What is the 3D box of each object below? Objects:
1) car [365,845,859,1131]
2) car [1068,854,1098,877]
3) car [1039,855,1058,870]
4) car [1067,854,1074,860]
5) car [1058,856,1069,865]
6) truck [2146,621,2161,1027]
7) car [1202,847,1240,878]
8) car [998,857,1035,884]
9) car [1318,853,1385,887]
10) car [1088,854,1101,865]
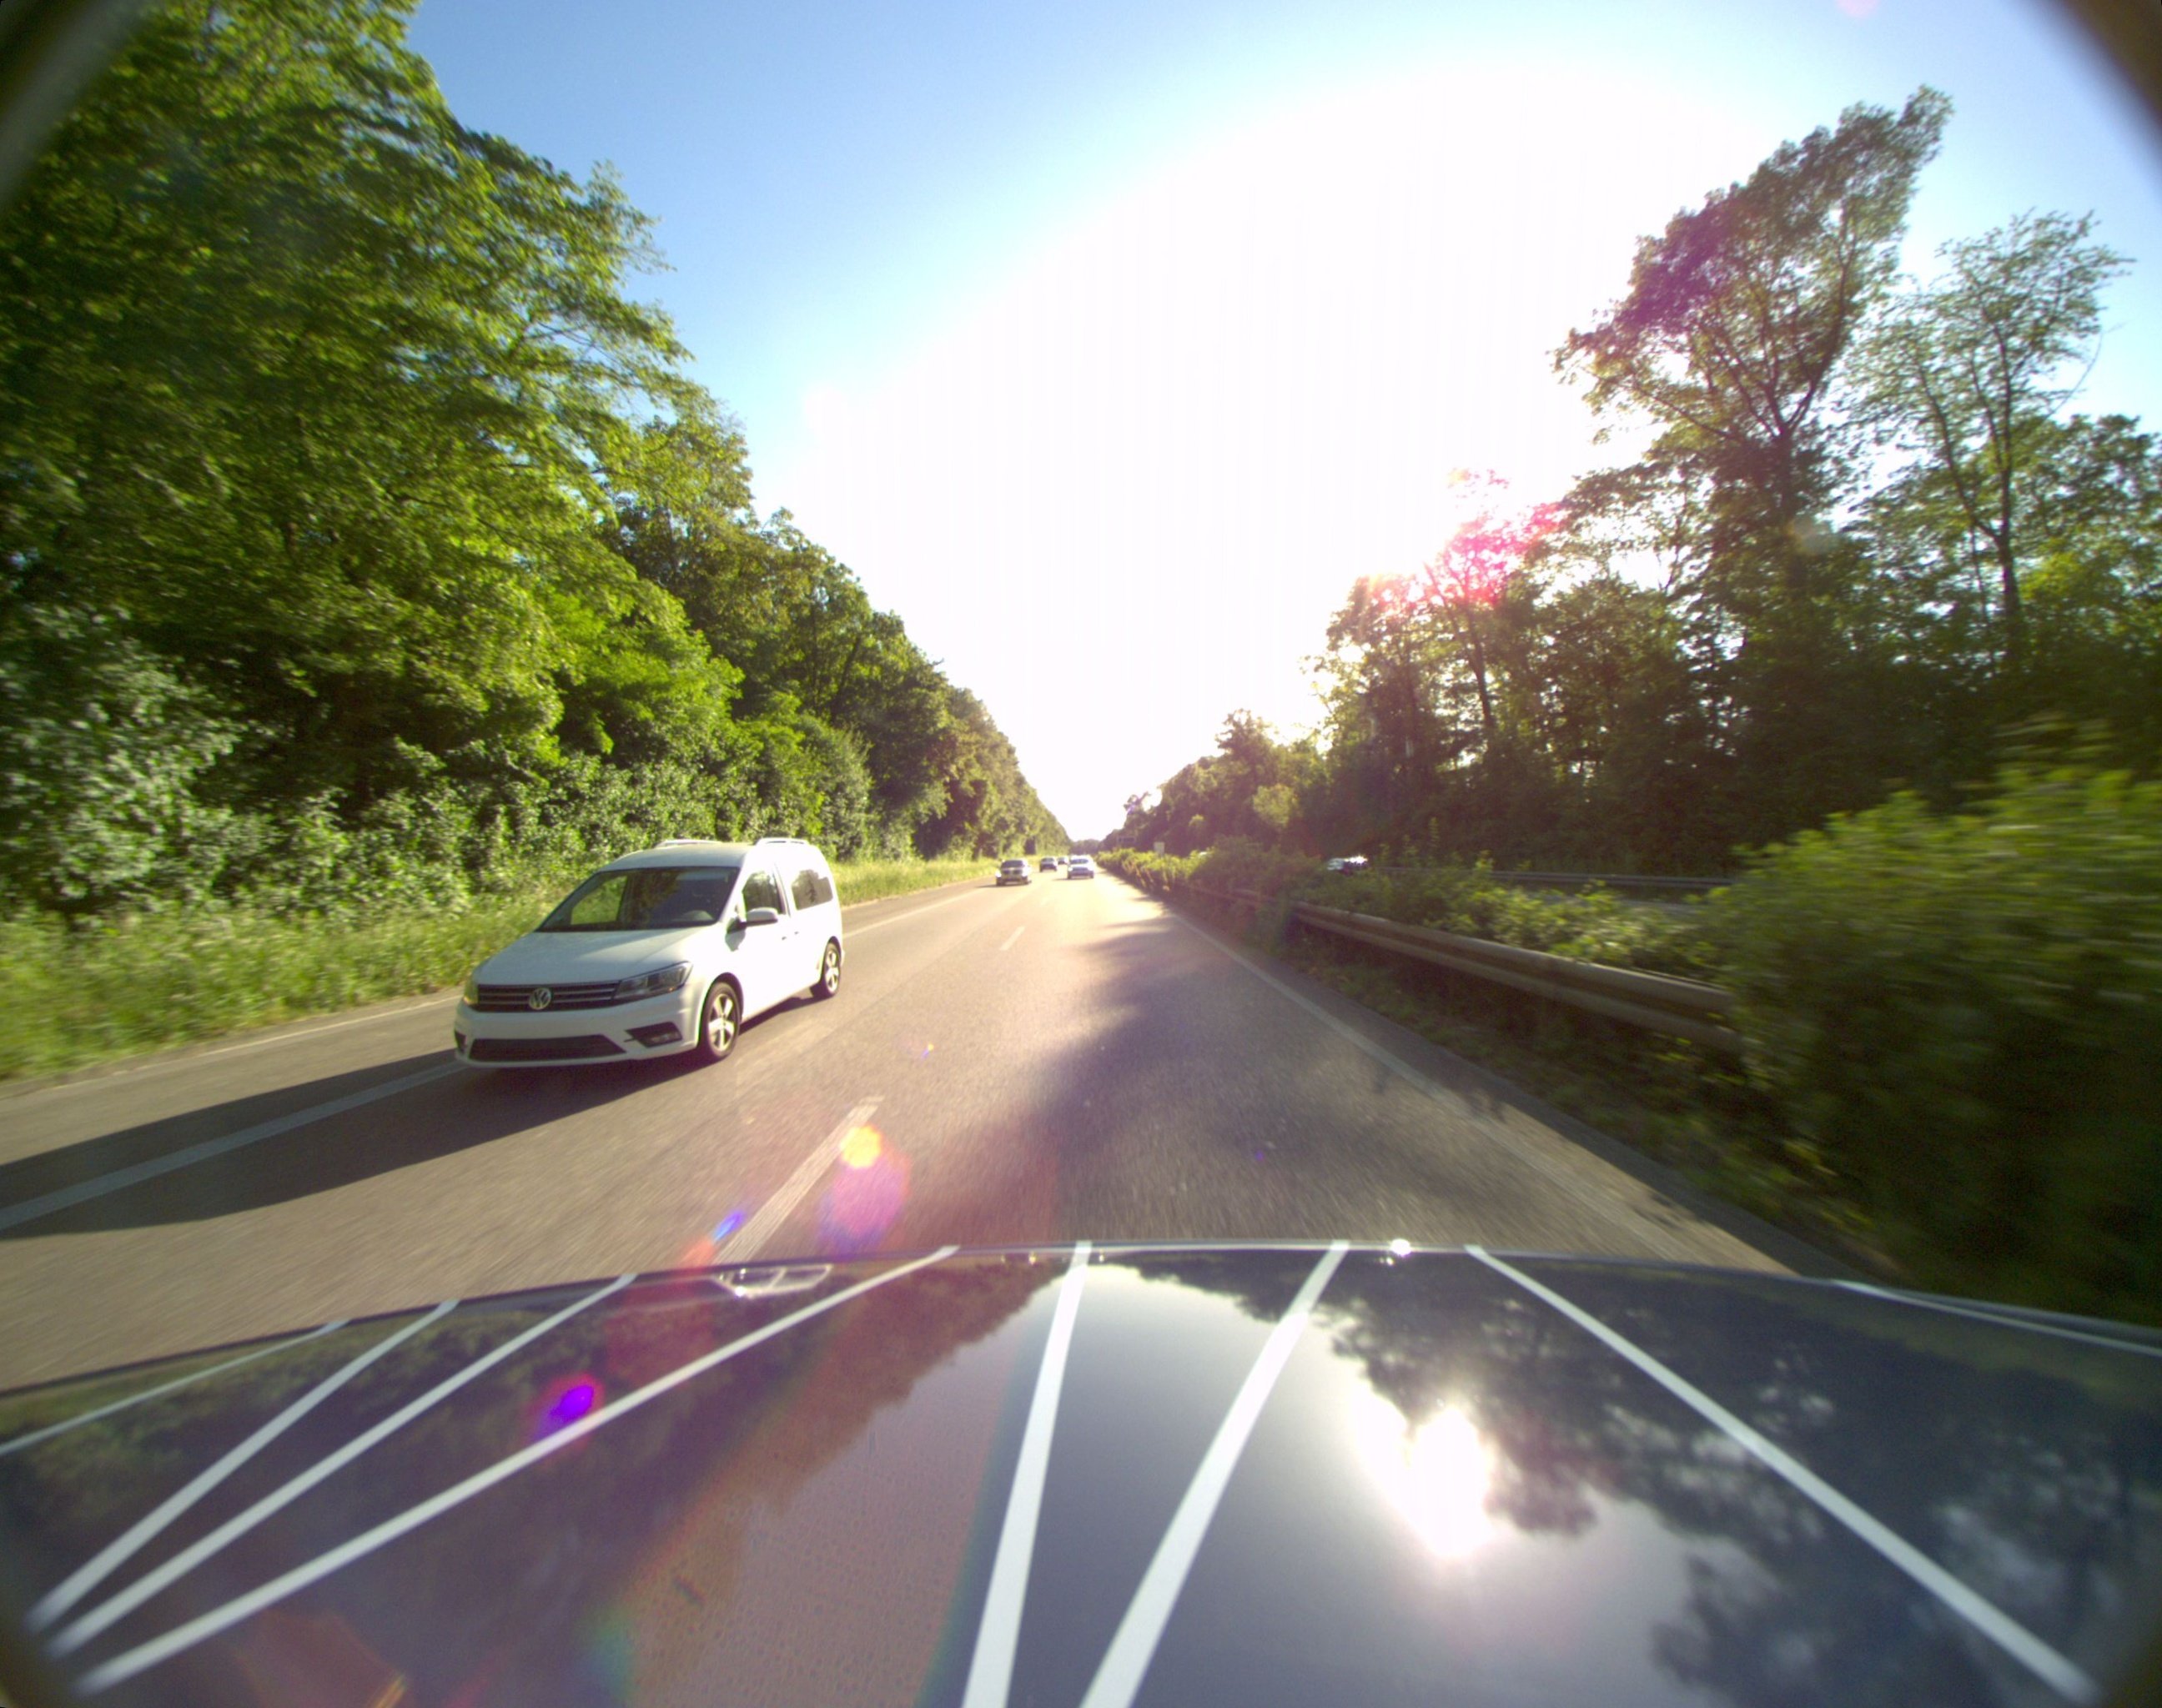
[{"bbox_3d":[-3.710,0.852,7.236,1.803,1.802,4.587,-2,1,0],"label":"car"},{"bbox_3d":[0.153,0.785,51.779,1.890,1.440,3.878,-2,0,0],"label":"car"},{"bbox_3d":[-3.342,0.844,78.631,1.795,1.440,3.877,-2,0,-1],"label":"car"},{"bbox_3d":[-2.833,0.882,211.256,1.795,1.440,3.877,-2,0,-1],"label":"car"},{"bbox_3d":[-3.020,1.192,134.058,1.795,1.440,3.877,-2,0,-1],"label":"car"},{"bbox_3d":[12.163,-0.303,4.997,2.723,4.073,5.436,-2,1,1],"label":"truck"},{"bbox_3d":[8.899,0.507,48.593,1.783,1.837,4.000,-2,1,2],"label":"car"},{"bbox_3d":[-3.662,0.932,43.870,1.795,1.440,3.877,-2,0,-1],"label":"car"},{"bbox_3d":[12.961,0.711,36.686,1.783,1.450,4.269,-2,1,2],"label":"car"},{"bbox_3d":[2.039,0.880,117.205,1.914,1.561,4.325,-2,1,1],"label":"car"}]
